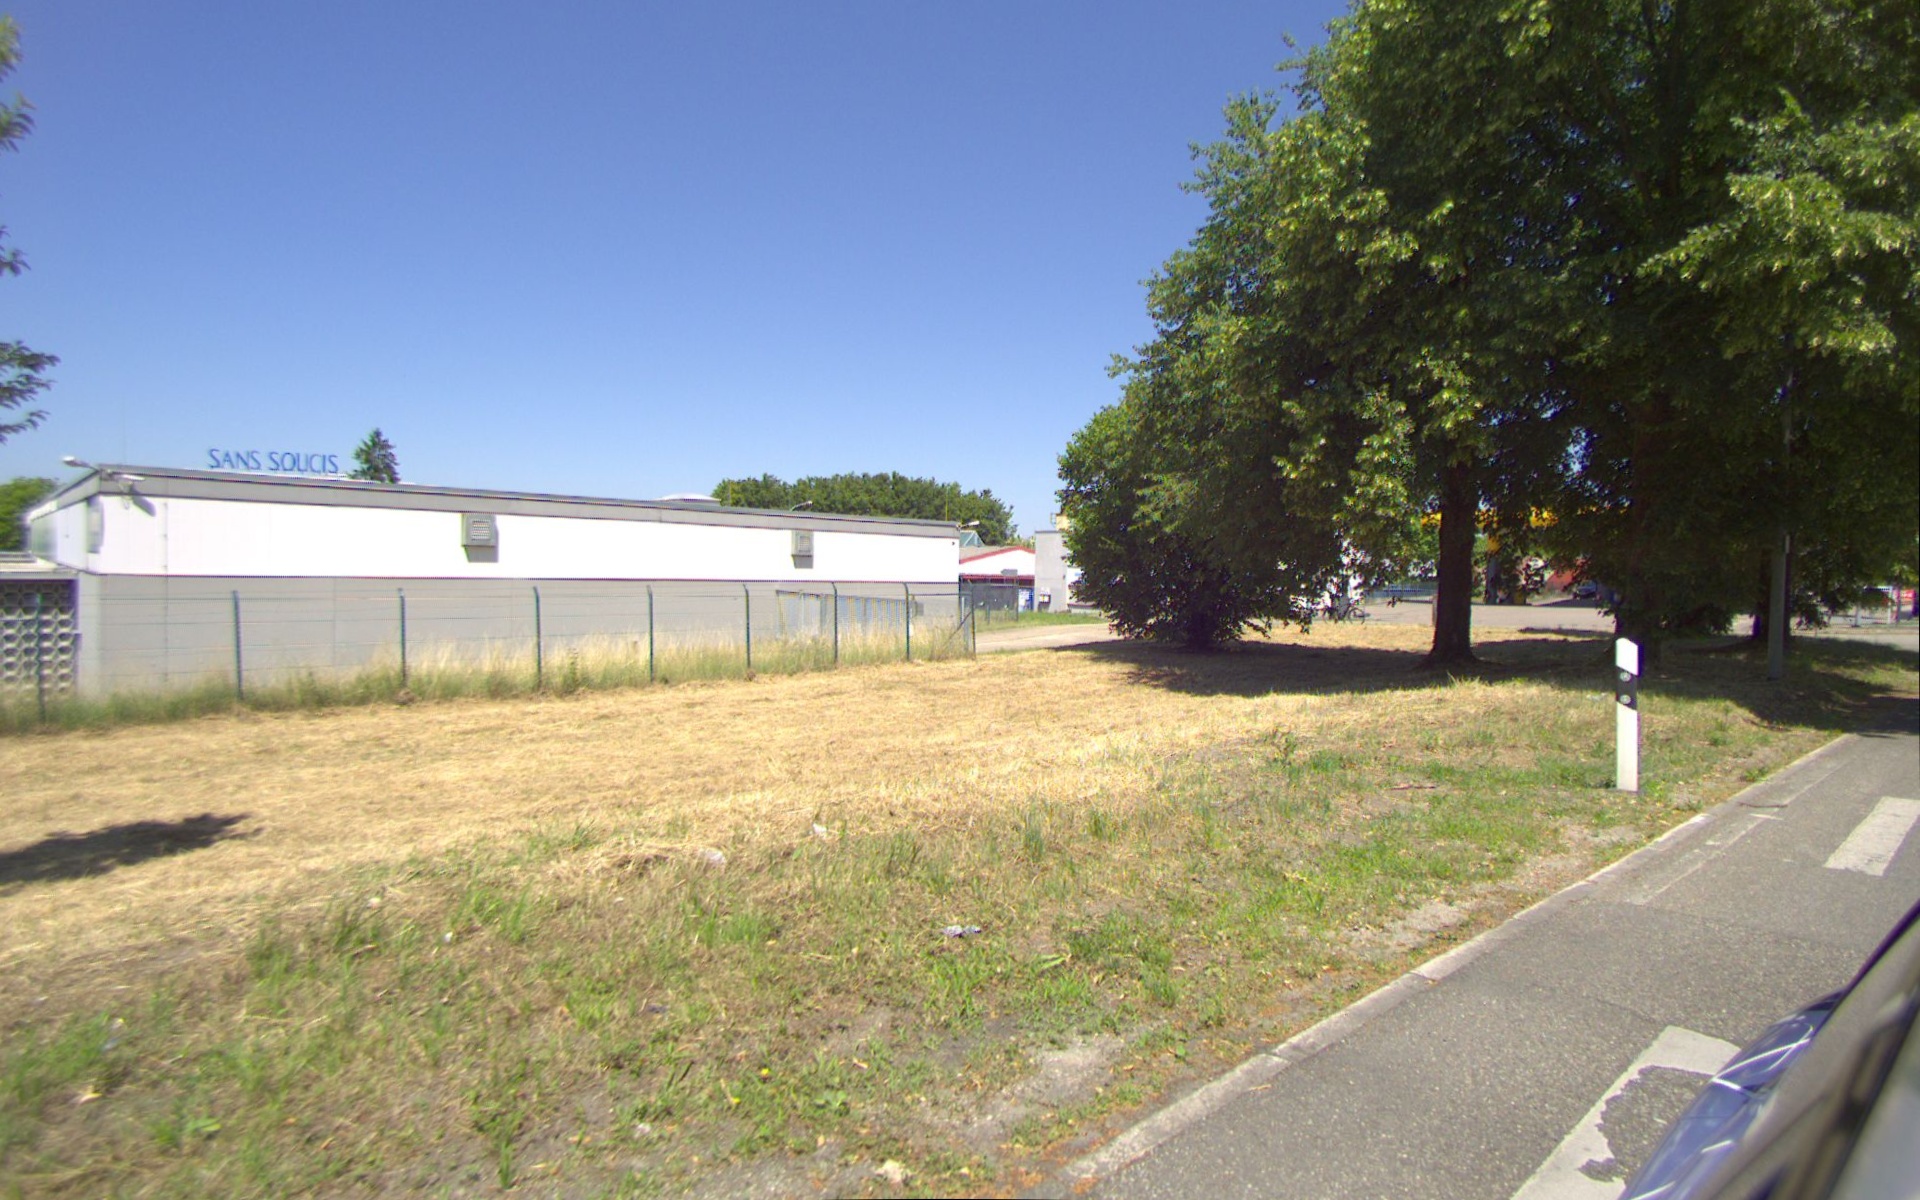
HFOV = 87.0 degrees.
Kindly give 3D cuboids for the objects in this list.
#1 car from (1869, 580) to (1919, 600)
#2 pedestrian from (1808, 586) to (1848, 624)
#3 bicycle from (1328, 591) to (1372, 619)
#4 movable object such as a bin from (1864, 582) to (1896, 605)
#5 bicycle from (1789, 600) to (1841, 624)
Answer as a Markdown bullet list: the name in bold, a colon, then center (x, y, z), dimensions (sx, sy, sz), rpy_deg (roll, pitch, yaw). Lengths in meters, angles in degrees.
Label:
- **car**: center (76.991, -0.808, 82.490), dimensions (4.224, 1.553, 1.928), rpy_deg (3, 2, 43)
- **pedestrian**: center (33.035, 0.179, 38.522), dimensions (0.853, 1.439, 0.770), rpy_deg (0, 1, 8)
- **bicycle**: center (15.968, 0.196, 41.450), dimensions (0.459, 1.111, 1.697), rpy_deg (-1, 1, -40)
- **movable object such as a bin**: center (60.482, -0.419, 66.538), dimensions (1.435, 1.455, 1.444), rpy_deg (4, 3, 44)
- **bicycle**: center (32.978, 0.458, 39.042), dimensions (1.571, 0.923, 0.378), rpy_deg (0, 1, 8)
